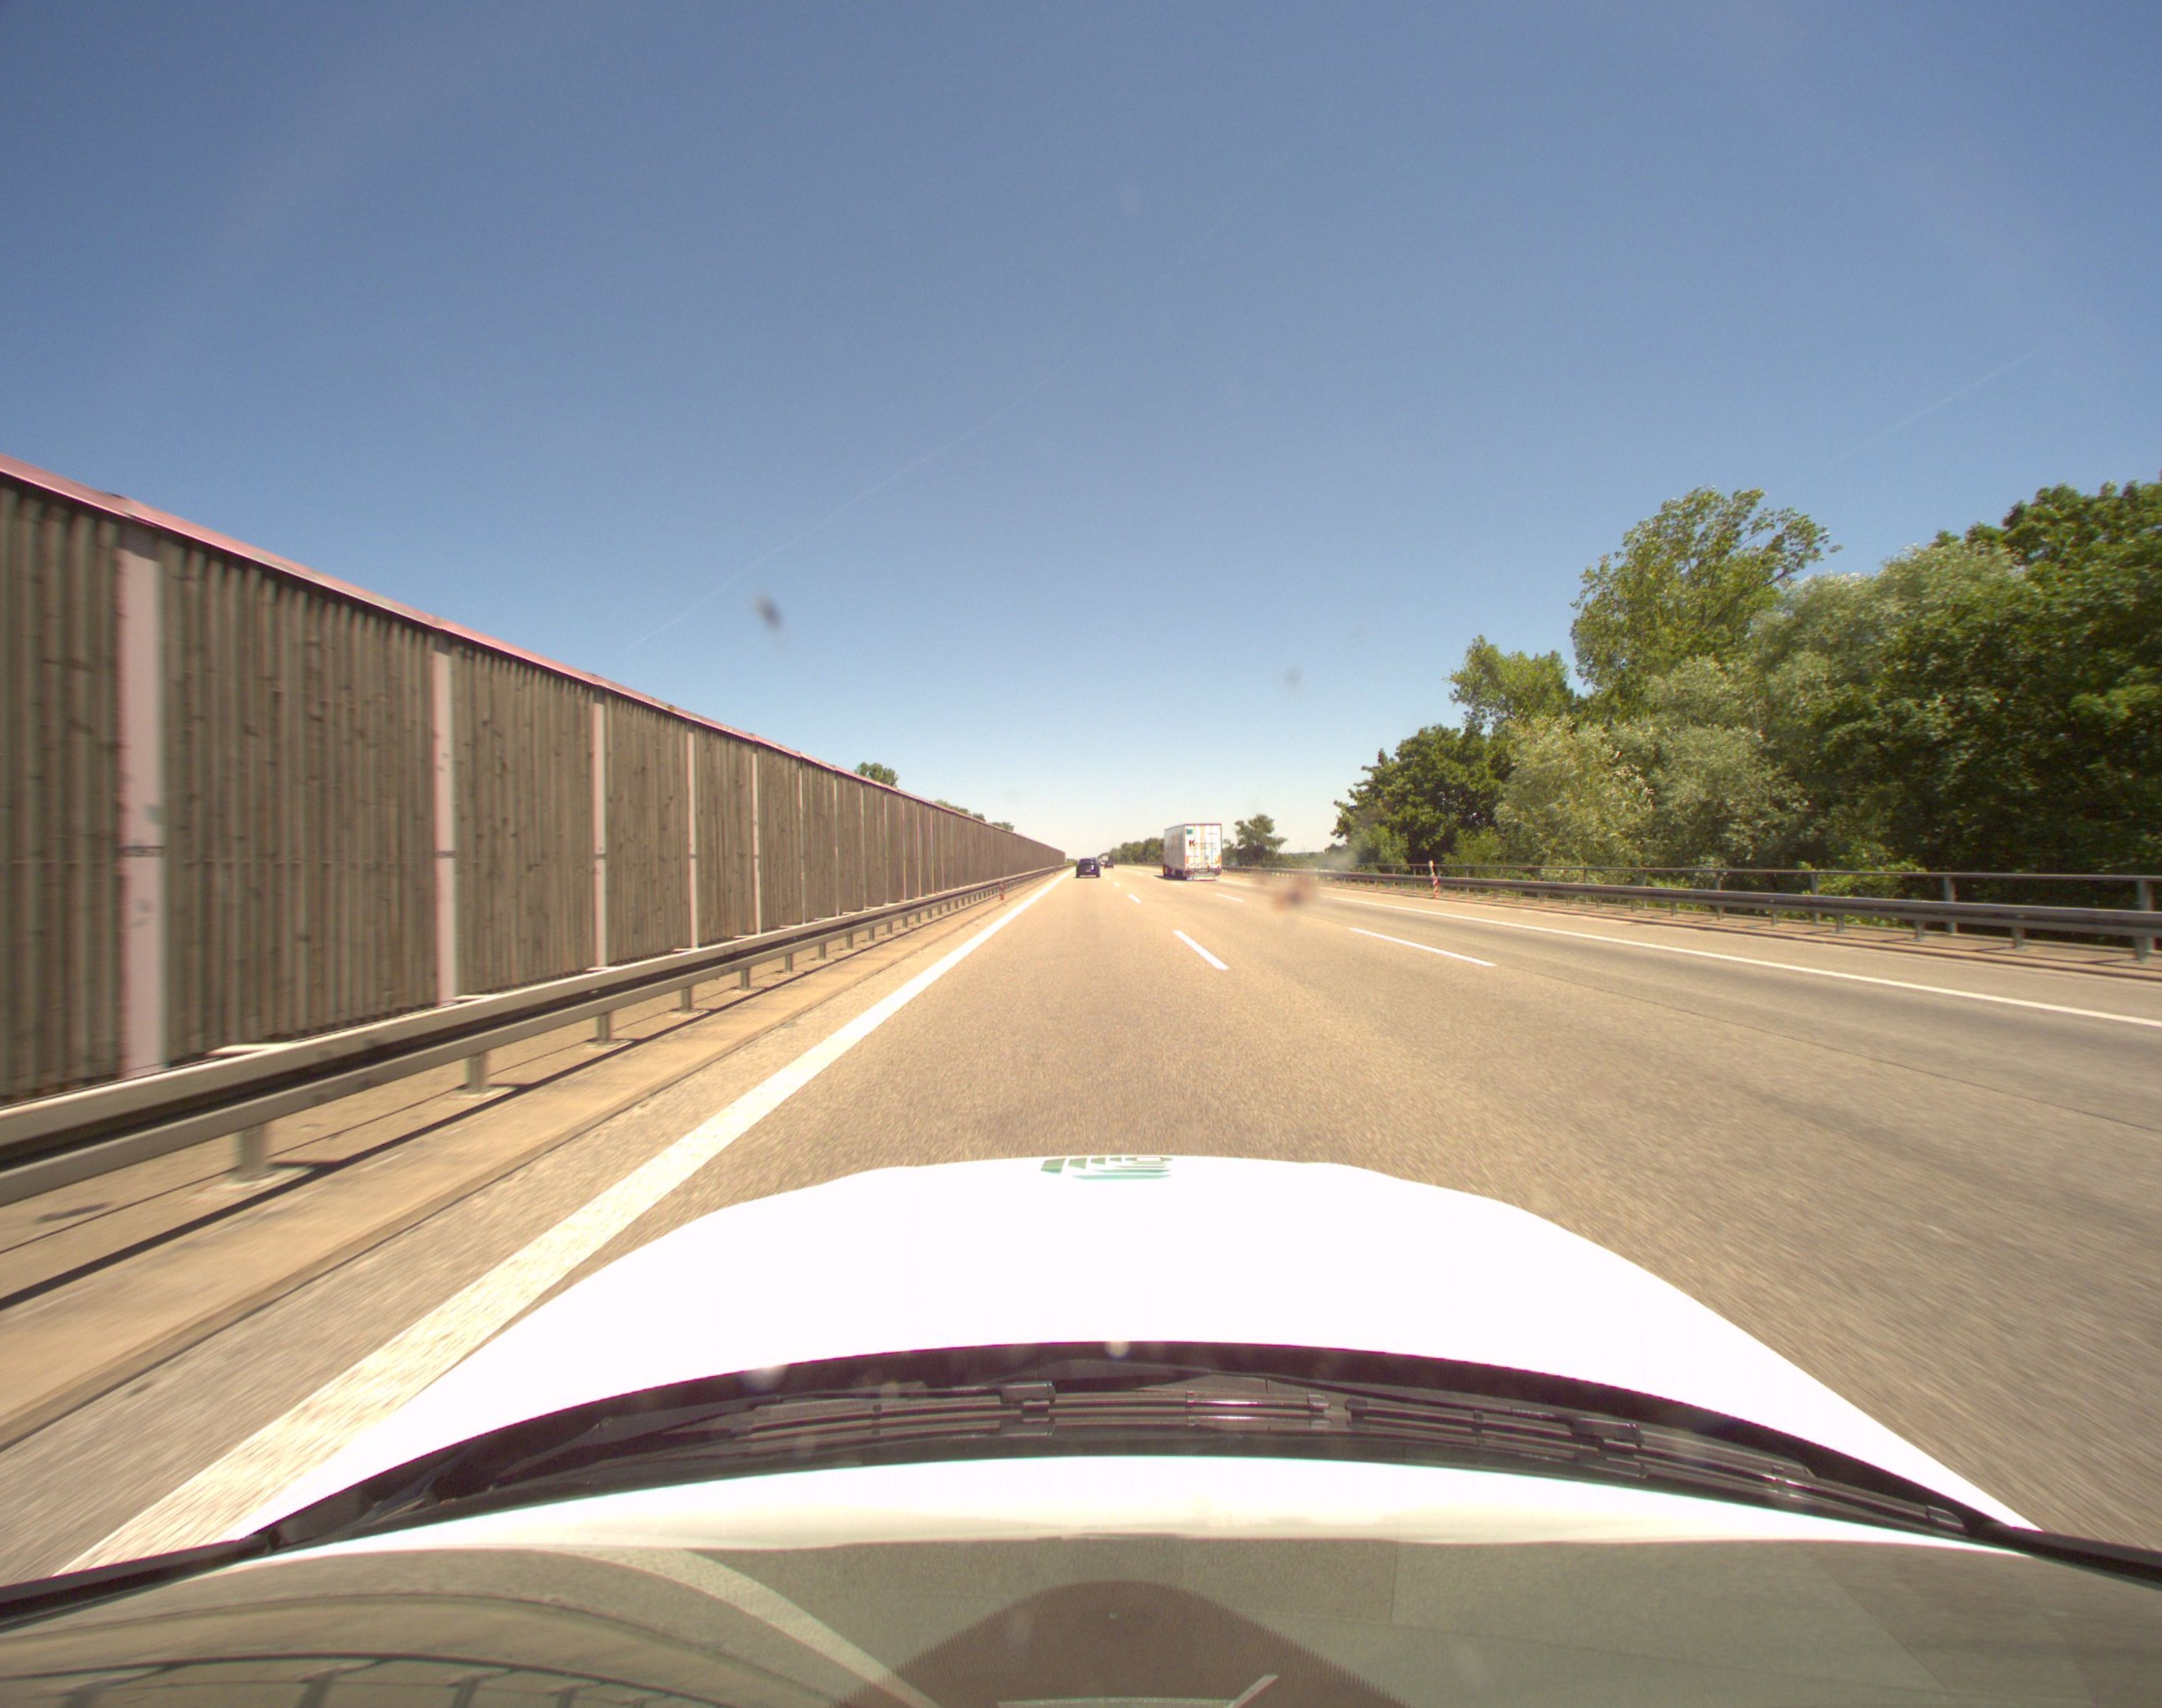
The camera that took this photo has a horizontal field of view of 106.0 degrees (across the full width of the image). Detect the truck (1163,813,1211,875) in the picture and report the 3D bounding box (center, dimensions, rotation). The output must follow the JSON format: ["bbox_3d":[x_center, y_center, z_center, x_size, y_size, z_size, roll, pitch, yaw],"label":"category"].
[{"bbox_3d":[8.805,-0.799,68.471,3.223,4.889,6.972,0,0,1],"label":"truck"}]

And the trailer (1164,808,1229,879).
[{"bbox_3d":[8.664,-0.695,62.955,3.258,4.837,14.030,0,0,1],"label":"trailer"}]

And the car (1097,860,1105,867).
[{"bbox_3d":[4.904,2.314,198.092,1.896,1.584,4.304,-2,-1,1],"label":"car"}]

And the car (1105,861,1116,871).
[{"bbox_3d":[5.304,2.198,147.755,1.896,1.584,4.304,-2,-1,1],"label":"car"}]

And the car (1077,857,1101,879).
[{"bbox_3d":[0.662,1.162,68.376,1.874,1.792,3.998,-1,0,-1],"label":"car"}]
